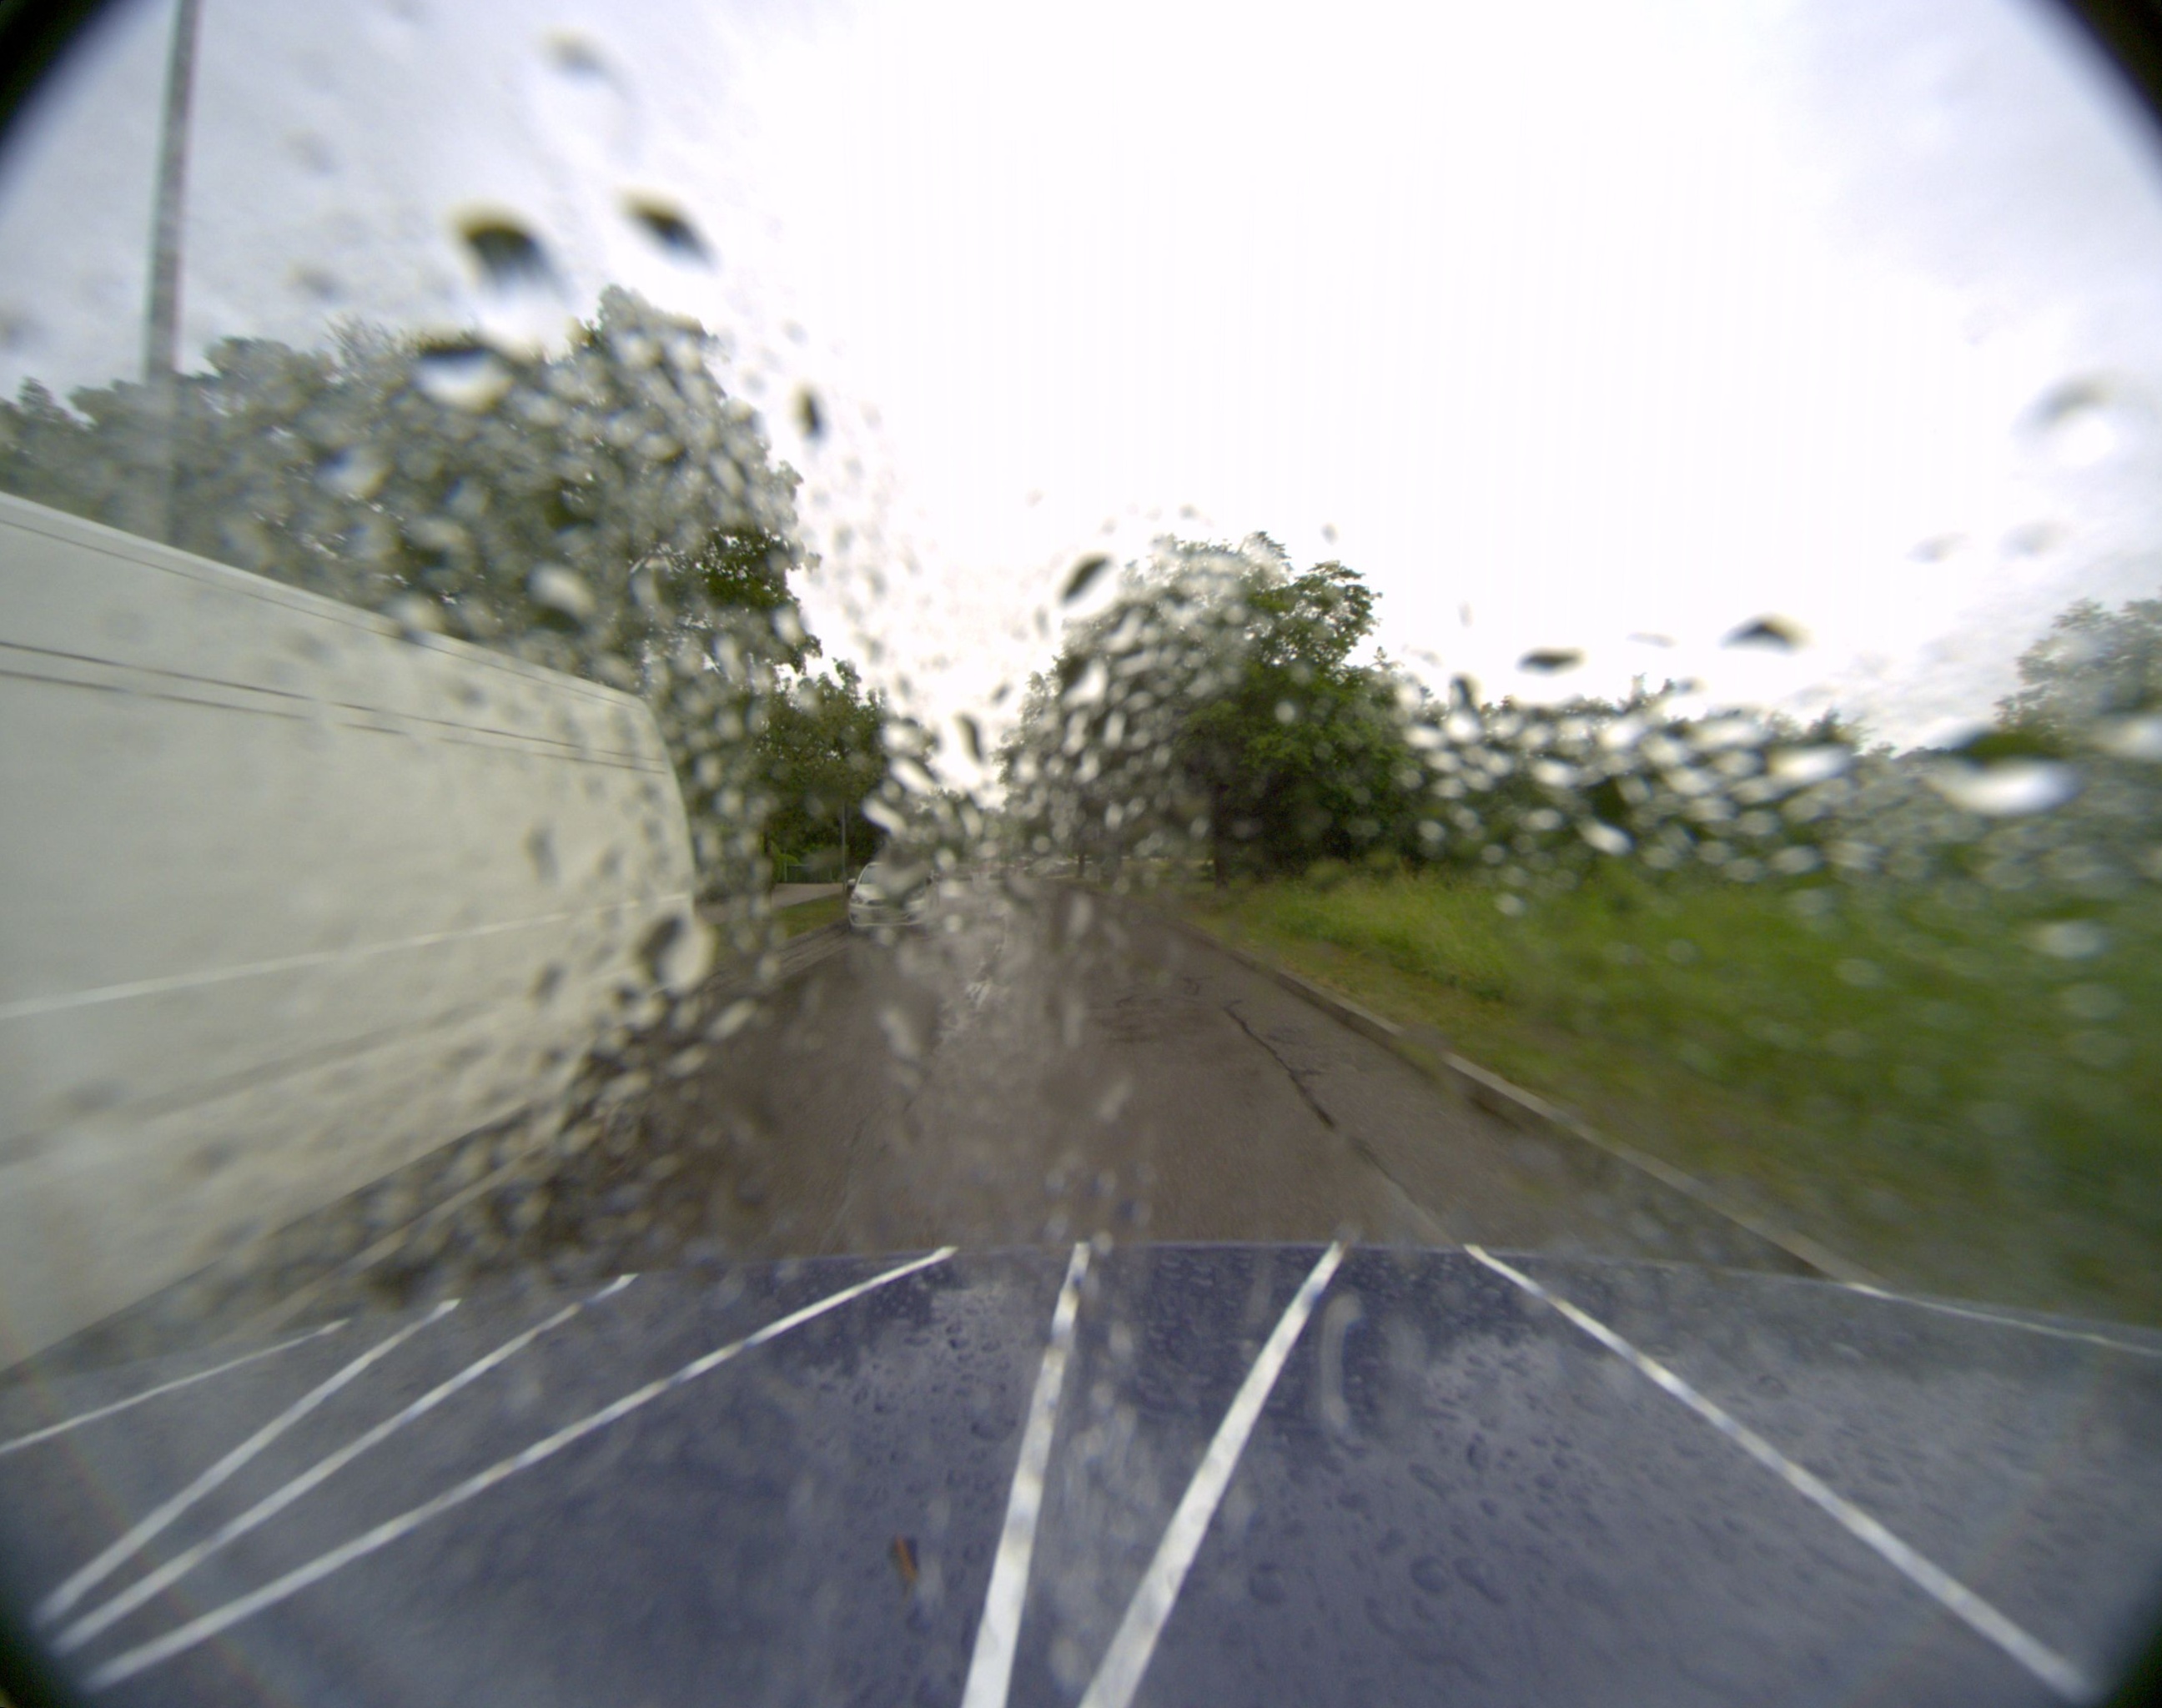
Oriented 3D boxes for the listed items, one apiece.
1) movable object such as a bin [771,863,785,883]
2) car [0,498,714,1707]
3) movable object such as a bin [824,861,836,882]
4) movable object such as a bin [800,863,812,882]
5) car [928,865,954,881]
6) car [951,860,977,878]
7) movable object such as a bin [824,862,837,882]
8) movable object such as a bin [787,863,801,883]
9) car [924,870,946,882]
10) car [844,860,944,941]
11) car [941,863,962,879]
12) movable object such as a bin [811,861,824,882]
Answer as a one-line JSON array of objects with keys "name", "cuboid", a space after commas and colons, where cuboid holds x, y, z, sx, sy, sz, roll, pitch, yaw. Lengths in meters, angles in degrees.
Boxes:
[{"name": "movable object such as a bin", "cuboid": [-16.253, 1.030, 40.743, 0.605, 1.048, 0.696, -1, -1, -14]}, {"name": "car", "cuboid": [-3.177, 0.553, 1.662, 2.123, 2.453, 5.508, -2, 1, -2]}, {"name": "movable object such as a bin", "cuboid": [-13.388, 0.940, 40.554, 0.544, 1.067, 0.667, -1, -1, -14]}, {"name": "movable object such as a bin", "cuboid": [-14.863, 1.002, 41.077, 0.579, 1.060, 0.696, -1, -1, -14]}, {"name": "car", "cuboid": [-14.567, 1.996, 78.936, 1.854, 1.542, 3.984, -1, -3, -23]}, {"name": "car", "cuboid": [-10.446, 1.384, 67.636, 1.681, 1.470, 3.550, -2, -1, -17]}, {"name": "movable object such as a bin", "cuboid": [-13.651, 0.978, 41.401, 0.602, 1.068, 0.696, -1, -1, -14]}, {"name": "movable object such as a bin", "cuboid": [-15.481, 1.016, 40.976, 0.605, 1.048, 0.696, -1, -1, -14]}, {"name": "car", "cuboid": [-16.755, 2.509, 87.059, 1.736, 1.273, 3.323, -1, -2, -23]}, {"name": "car", "cuboid": [-4.020, 0.924, 16.855, 1.610, 1.494, 3.724, -2, 1, -6]}, {"name": "car", "cuboid": [-12.480, 1.674, 72.901, 1.555, 1.427, 3.009, -2, -2, -18]}, {"name": "movable object such as a bin", "cuboid": [-14.029, 0.943, 40.441, 0.598, 1.066, 0.696, -1, -1, -14]}]
